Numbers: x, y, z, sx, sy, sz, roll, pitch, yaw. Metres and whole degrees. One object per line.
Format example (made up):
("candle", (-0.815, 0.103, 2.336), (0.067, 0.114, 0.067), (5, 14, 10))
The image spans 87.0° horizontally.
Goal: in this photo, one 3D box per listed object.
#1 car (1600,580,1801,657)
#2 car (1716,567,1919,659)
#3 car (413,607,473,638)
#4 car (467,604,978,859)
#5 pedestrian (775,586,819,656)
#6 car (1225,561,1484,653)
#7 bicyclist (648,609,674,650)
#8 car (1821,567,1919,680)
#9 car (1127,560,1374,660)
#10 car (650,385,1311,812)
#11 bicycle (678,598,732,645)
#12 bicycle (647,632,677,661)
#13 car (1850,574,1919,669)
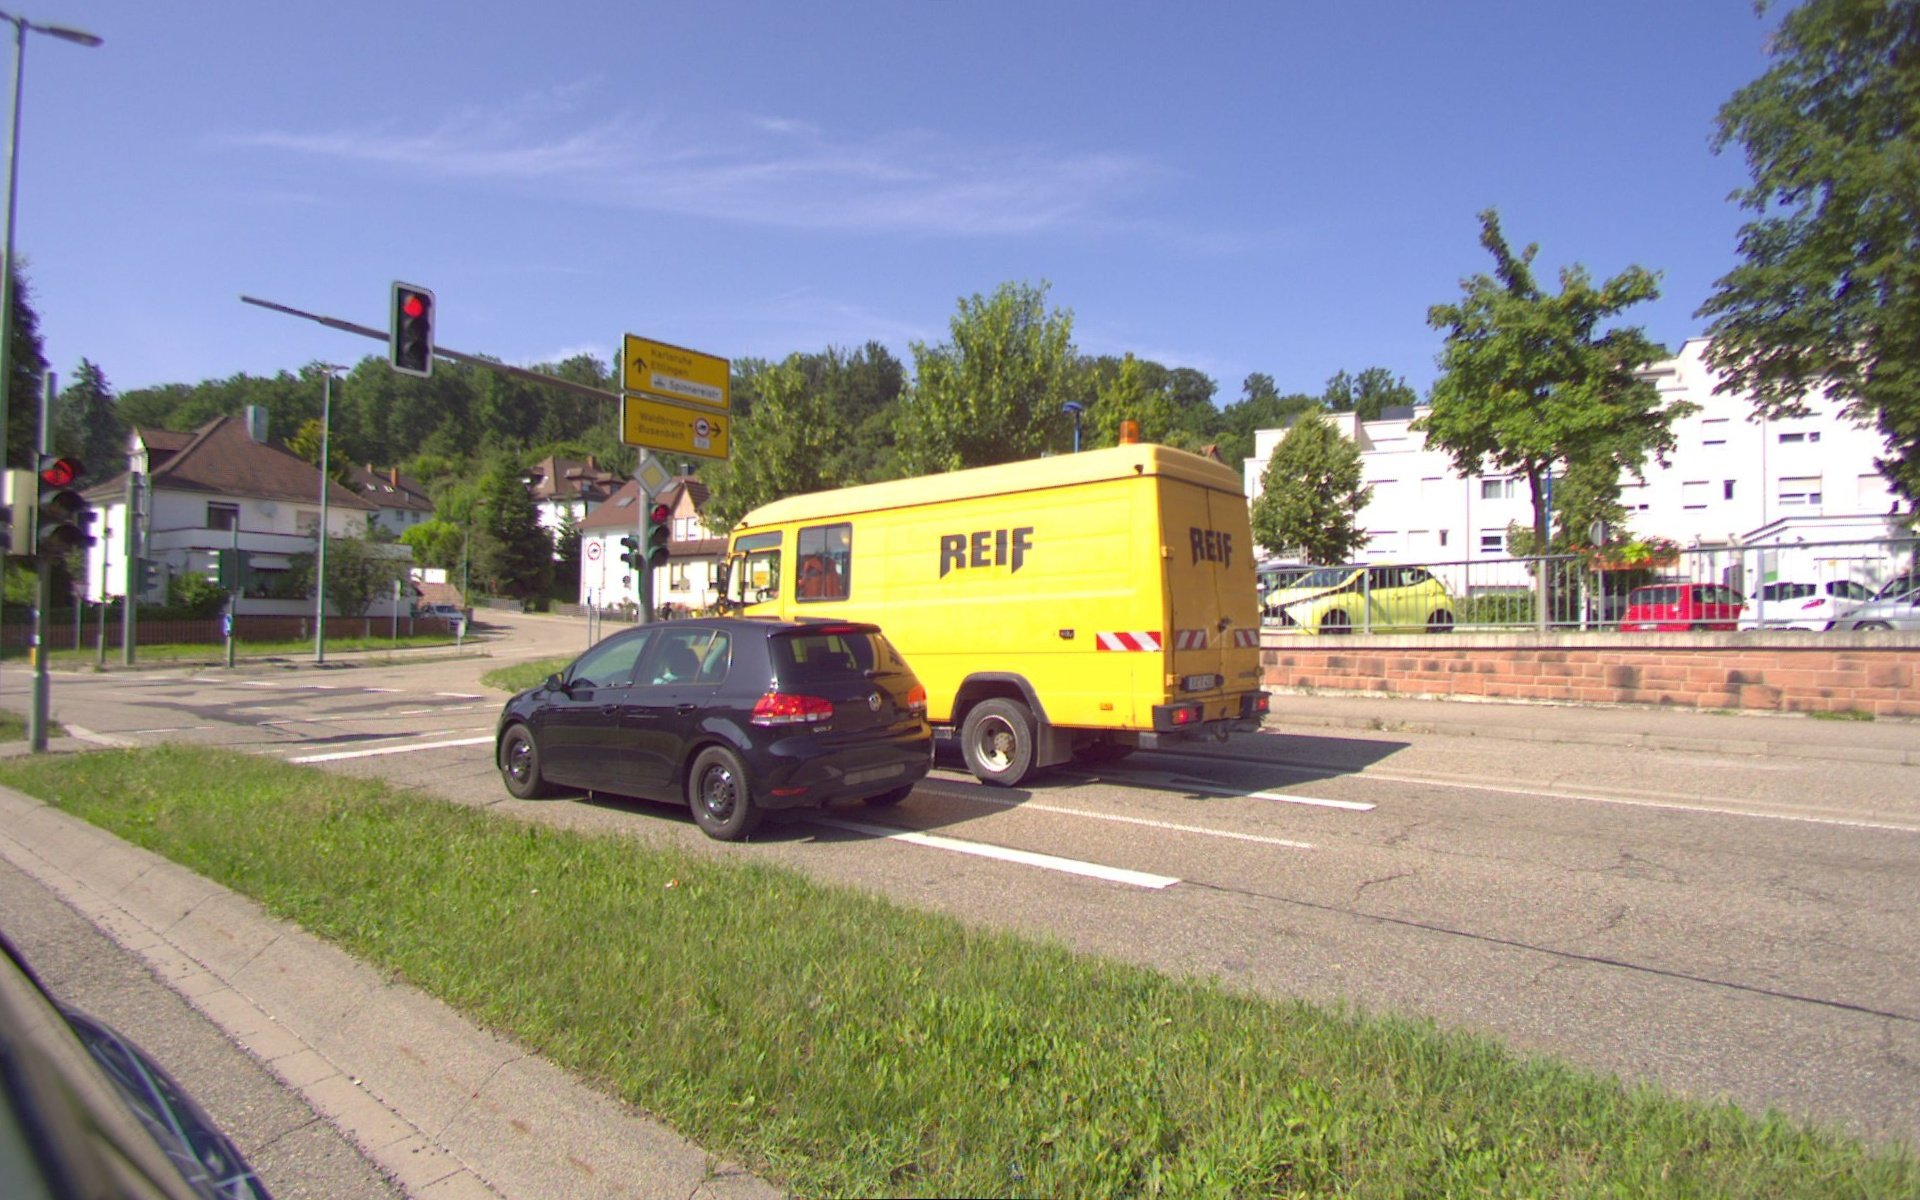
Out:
("car", (17.456, 0.423, 23.880), (3.931, 1.571, 1.920), (-2, -1, -21))
("car", (18.460, 0.265, 21.635), (3.931, 1.714, 1.920), (-2, -1, -24))
("car", (-30.920, 1.344, 60.451), (4.000, 1.649, 1.913), (-3, -1, 43))
("car", (-1.976, 0.820, 7.817), (4.038, 1.474, 1.728), (-2, -2, 39))
("pedestrian", (-4.041, 0.525, 25.052), (0.740, 1.690, 0.704), (-3, -1, 37))
("car", (6.948, 0.103, 17.911), (3.931, 1.392, 1.920), (-2, -1, -21))
("bicyclist", (-12.747, 1.260, 43.193), (0.795, 1.704, 0.993), (-2, -1, -2))
("car", (16.476, 0.360, 15.912), (1.888, 1.803, 4.013), (0, -1, -20))
("car", (5.821, 0.164, 20.372), (4.339, 1.709, 2.064), (-3, 0, -21))
("car", (-0.134, 0.032, 10.171), (6.457, 3.033, 2.444), (-1, 0, 38))
("bicycle", (-7.554, 0.654, 29.963), (1.757, 1.265, 0.612), (-5, 0, 43))
("bicycle", (-12.734, 1.970, 43.316), (0.724, 1.171, 2.001), (-2, -1, -2))
("car", (18.983, 0.311, 18.724), (3.931, 1.684, 2.006), (-2, -1, -19))
